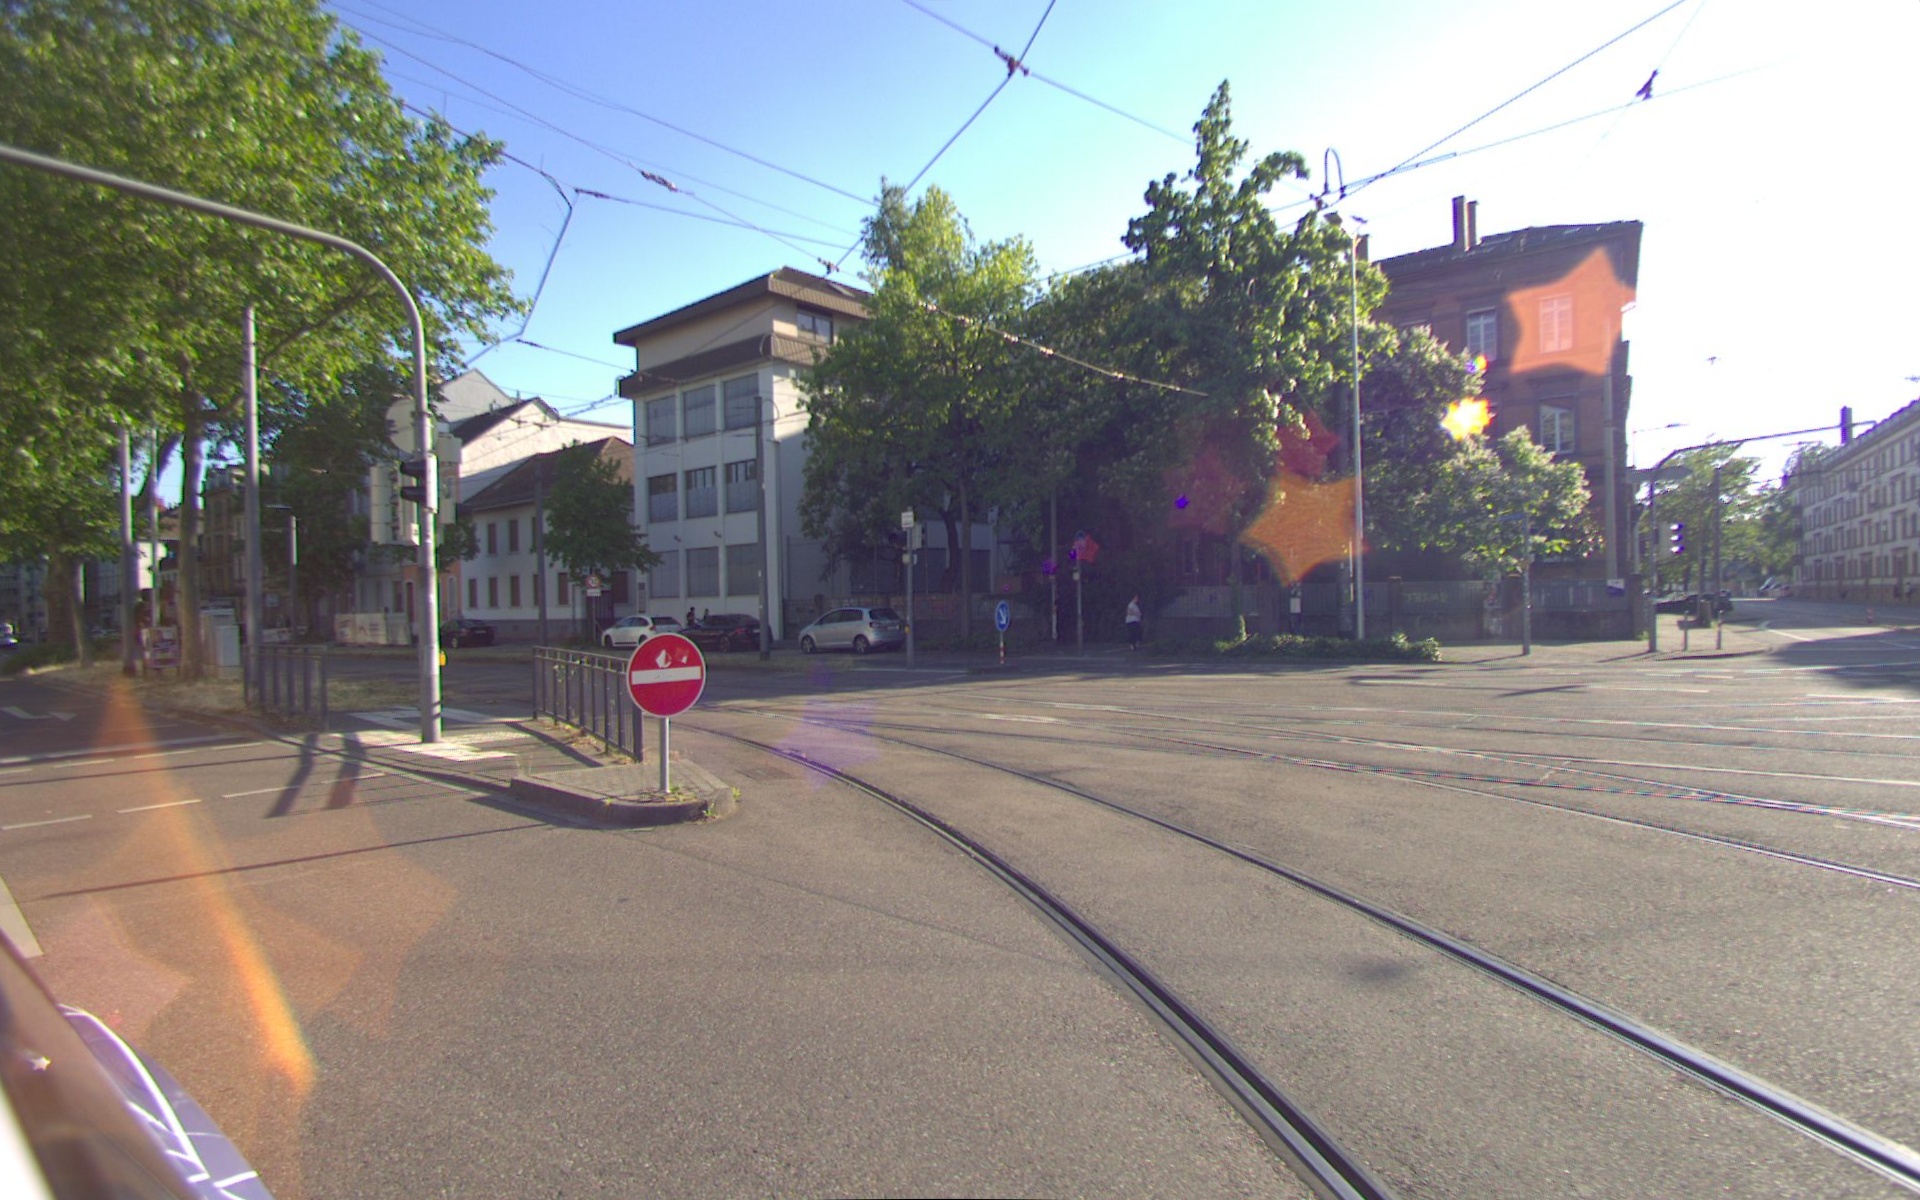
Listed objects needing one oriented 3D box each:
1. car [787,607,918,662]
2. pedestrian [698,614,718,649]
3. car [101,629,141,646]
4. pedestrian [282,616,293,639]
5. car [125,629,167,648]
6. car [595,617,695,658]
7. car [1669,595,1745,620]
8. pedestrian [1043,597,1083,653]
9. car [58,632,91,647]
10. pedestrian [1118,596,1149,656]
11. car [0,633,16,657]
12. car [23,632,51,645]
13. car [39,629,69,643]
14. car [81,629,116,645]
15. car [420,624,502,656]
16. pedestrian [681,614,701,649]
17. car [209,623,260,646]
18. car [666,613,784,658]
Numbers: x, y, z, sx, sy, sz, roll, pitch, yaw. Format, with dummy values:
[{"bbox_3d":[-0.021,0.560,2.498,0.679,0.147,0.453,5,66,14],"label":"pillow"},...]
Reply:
[{"bbox_3d":[-3.680,1.148,34.431,4.093,1.631,2.062,-2,2,38],"label":"car"},{"bbox_3d":[-11.286,1.394,45.351,0.711,1.540,0.530,-2,-1,40],"label":"pedestrian"},{"bbox_3d":[-85.387,3.834,103.009,5.099,1.551,2.062,-2,2,39],"label":"car"},{"bbox_3d":[-54.312,2.190,81.760,0.704,1.823,0.554,-2,-1,39],"label":"pedestrian"},{"bbox_3d":[-75.723,3.575,94.163,4.511,1.551,2.062,-2,2,39],"label":"car"},{"bbox_3d":[-13.233,1.568,42.386,3.992,1.501,2.062,-2,2,38],"label":"car"},{"bbox_3d":[50.481,0.491,68.496,3.987,1.586,1.978,-2,-1,33],"label":"car"},{"bbox_3d":[3.306,0.805,32.386,1.018,1.765,0.727,-2,-1,39],"label":"pedestrian"},{"bbox_3d":[-104.241,4.619,119.128,4.251,1.551,2.062,-2,2,38],"label":"car"},{"bbox_3d":[4.992,0.754,29.132,0.631,1.677,0.562,-2,1,39],"label":"pedestrian"},{"bbox_3d":[-77.645,3.630,81.491,3.998,1.785,1.973,-1,1,41],"label":"car"},{"bbox_3d":[-123.795,5.197,135.702,4.115,1.551,2.062,-2,2,38],"label":"car"},{"bbox_3d":[-112.371,4.508,125.470,4.004,1.551,2.062,-2,2,38],"label":"car"},{"bbox_3d":[-92.390,3.961,108.580,4.034,1.551,2.062,-2,2,38],"label":"car"},{"bbox_3d":[-26.252,2.079,53.233,4.573,1.481,2.062,-2,2,39],"label":"car"},{"bbox_3d":[-11.829,1.373,44.506,0.710,1.540,0.531,-2,-1,34],"label":"pedestrian"},{"bbox_3d":[-57.561,2.732,80.241,4.527,1.686,2.062,-2,2,39],"label":"car"},{"bbox_3d":[-9.041,1.357,38.795,4.452,1.513,2.062,-2,2,39],"label":"car"}]
